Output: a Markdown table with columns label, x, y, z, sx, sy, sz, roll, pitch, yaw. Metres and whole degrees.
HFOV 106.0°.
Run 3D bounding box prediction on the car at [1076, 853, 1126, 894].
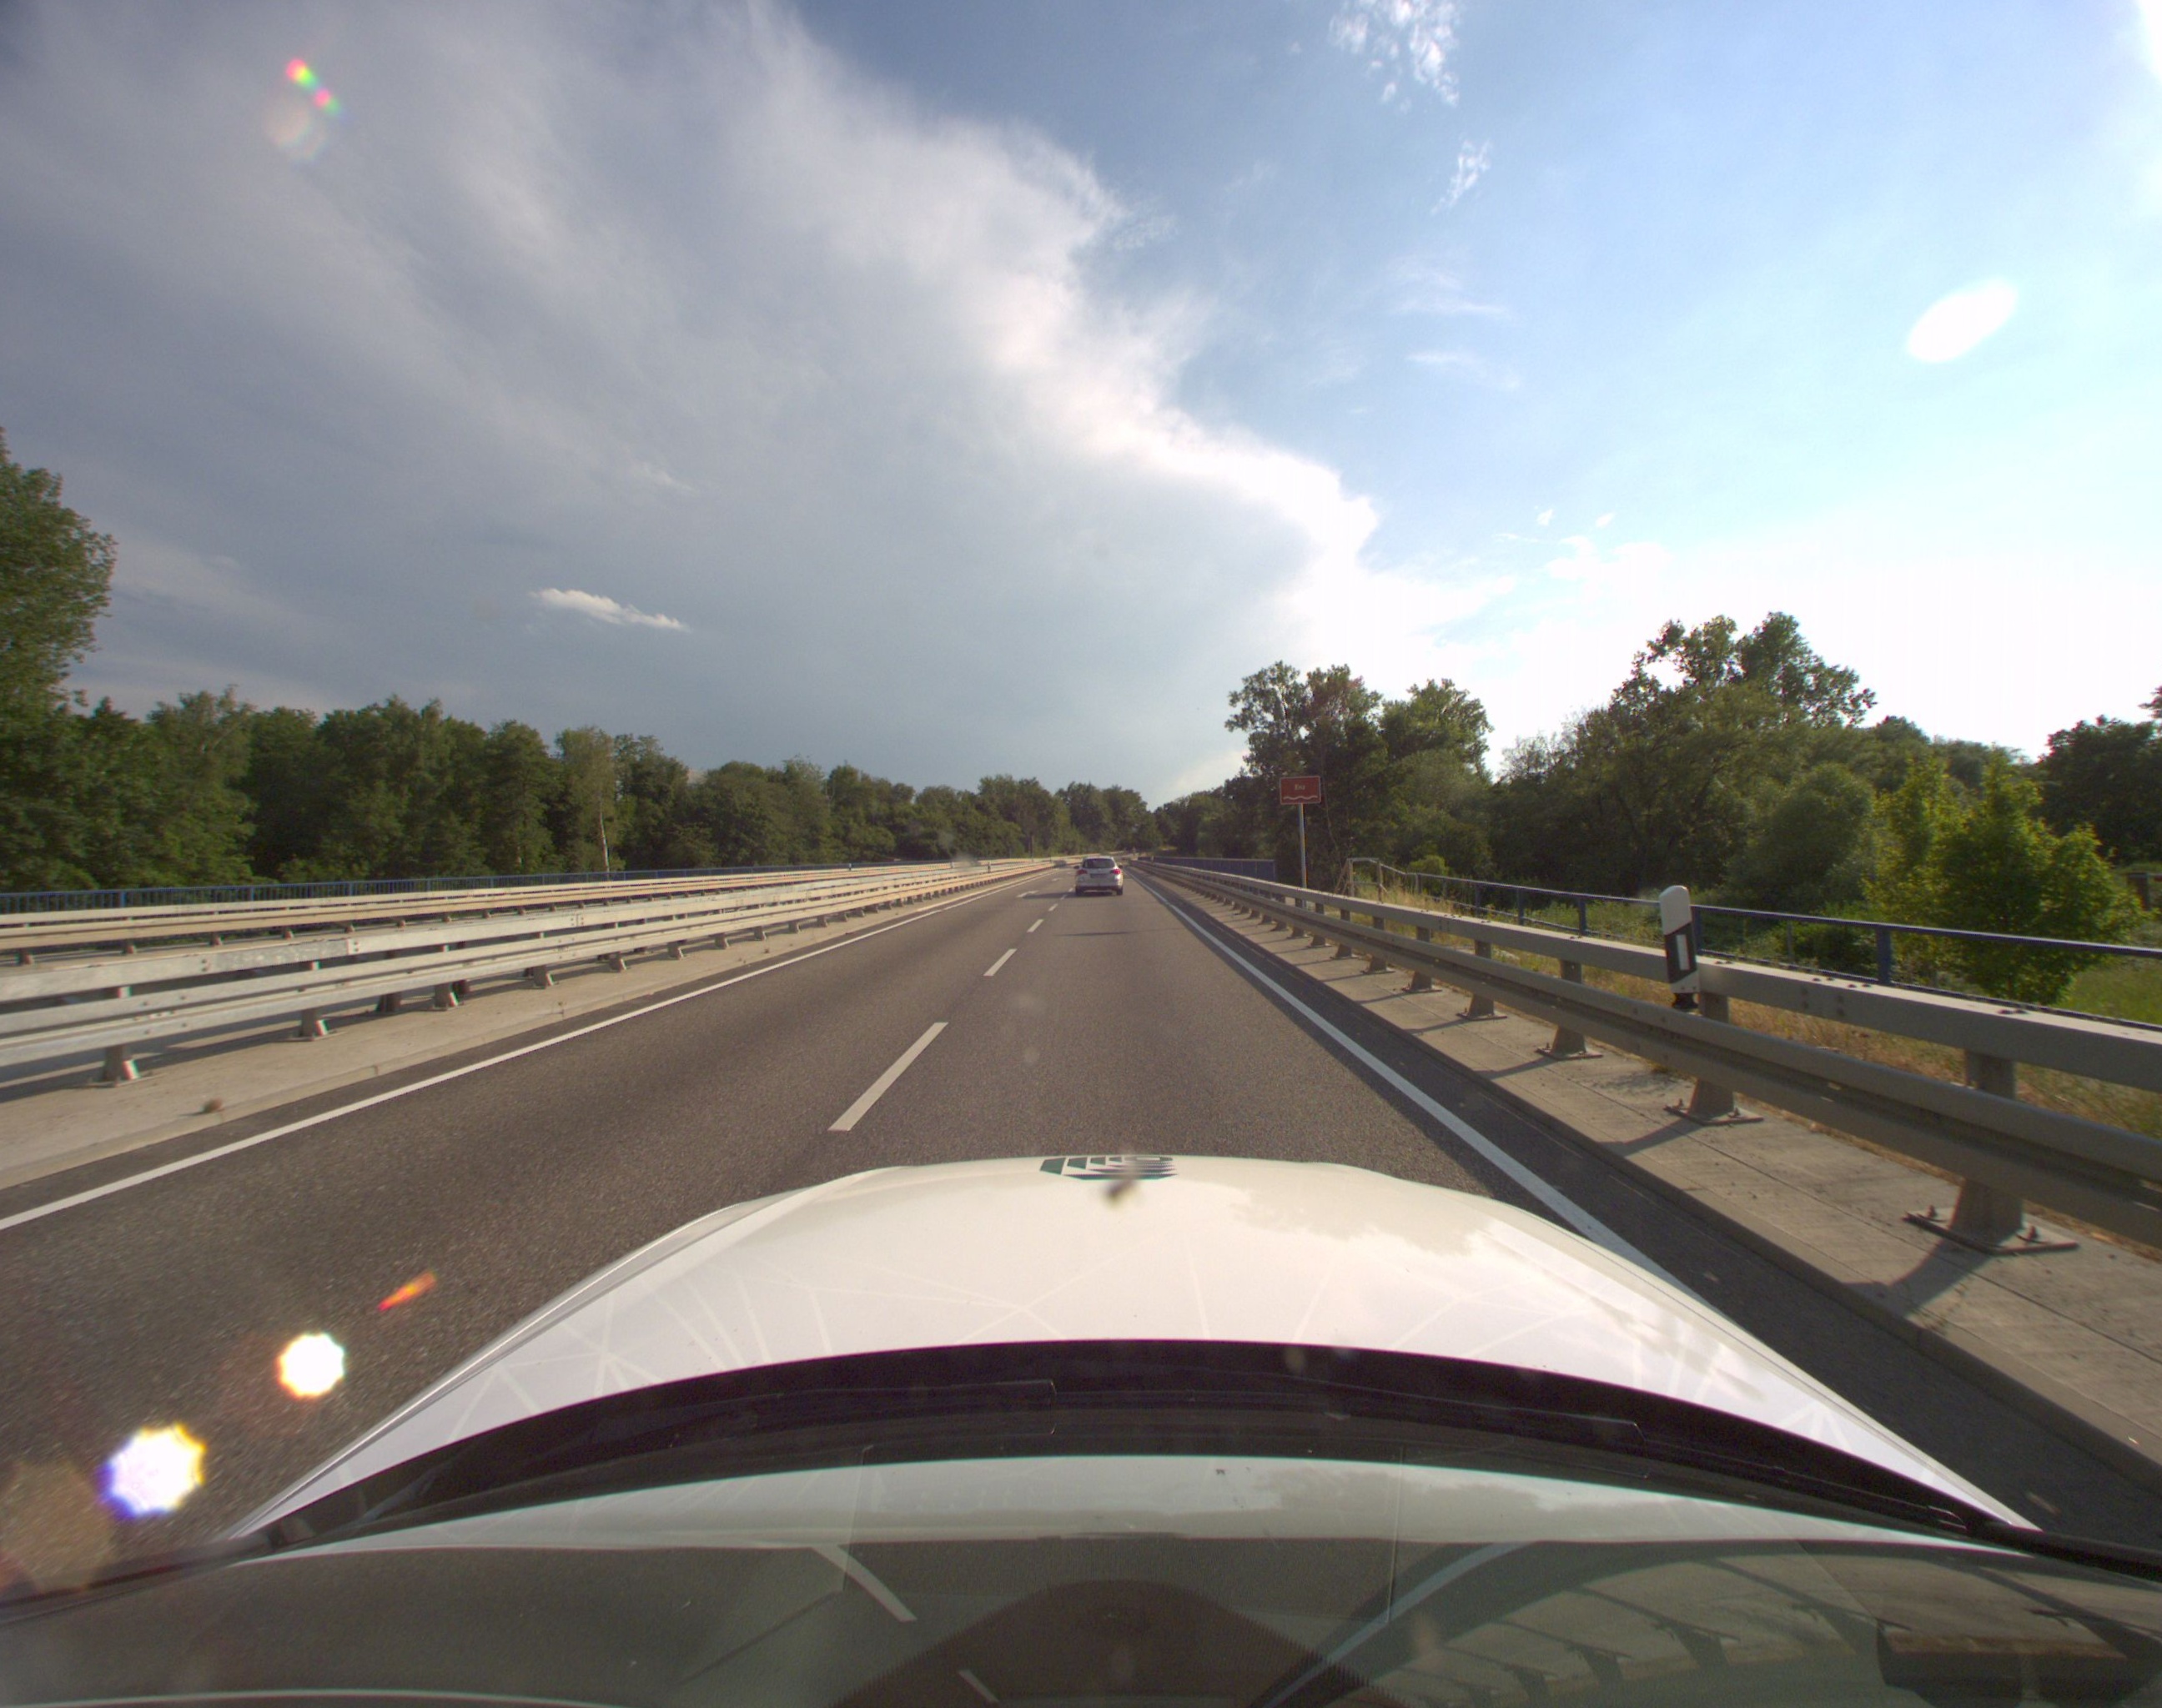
| label | x | y | z | sx | sy | sz | roll | pitch | yaw |
| --- | --- | --- | --- | --- | --- | --- | --- | --- | --- |
| car | 0.760 | 0.734 | 31.473 | 1.803 | 1.486 | 4.000 | 0 | -1 | 1 |

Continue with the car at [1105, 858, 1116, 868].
| label | x | y | z | sx | sy | sz | roll | pitch | yaw |
| --- | --- | --- | --- | --- | --- | --- | --- | --- | --- |
| car | 5.855 | 1.780 | 162.750 | 1.989 | 2.014 | 3.996 | 0 | -1 | -2 |

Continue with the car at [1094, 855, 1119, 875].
| label | x | y | z | sx | sy | sz | roll | pitch | yaw |
| --- | --- | --- | --- | --- | --- | --- | --- | --- | --- |
| car | 1.941 | 0.857 | 62.945 | 1.803 | 1.486 | 4.000 | 0 | -1 | 1 |
